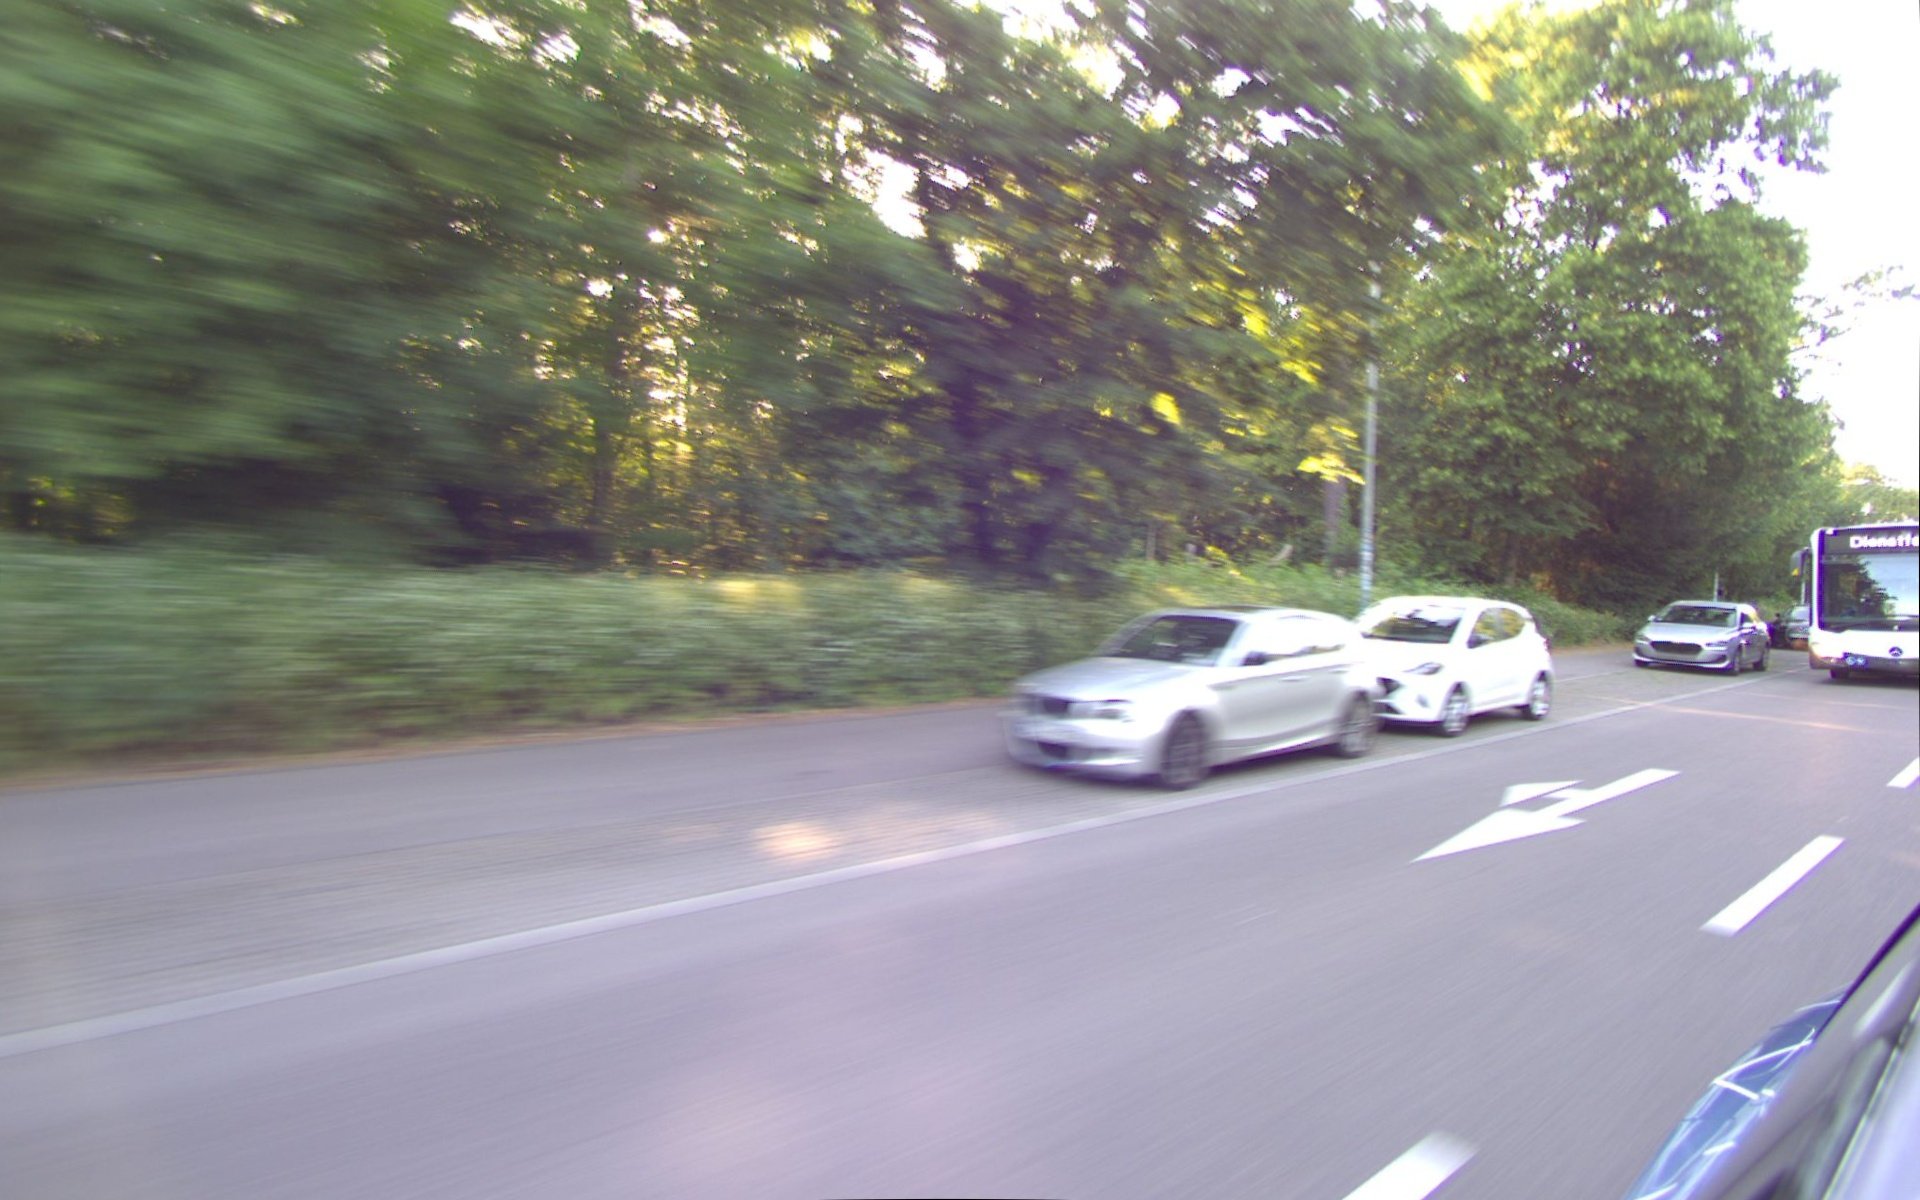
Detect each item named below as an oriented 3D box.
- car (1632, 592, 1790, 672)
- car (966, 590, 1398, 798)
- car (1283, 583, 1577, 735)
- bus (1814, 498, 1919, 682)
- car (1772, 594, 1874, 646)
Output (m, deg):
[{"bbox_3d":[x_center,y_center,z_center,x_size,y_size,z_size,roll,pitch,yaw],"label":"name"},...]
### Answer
[{"bbox_3d":[16.314,0.621,21.898,4.585,1.459,1.732,0,4,-41],"label":"car"},{"bbox_3d":[2.148,0.662,9.173,4.017,1.427,1.731,0,2,-40],"label":"car"},{"bbox_3d":[5.841,0.598,12.375,4.017,1.541,1.731,0,1,-40],"label":"car"},{"bbox_3d":[21.355,-0.193,22.053,12.070,3.262,2.708,0,1,-43],"label":"bus"},{"bbox_3d":[27.803,0.592,32.552,4.872,1.459,1.842,0,3,-42],"label":"car"}]
